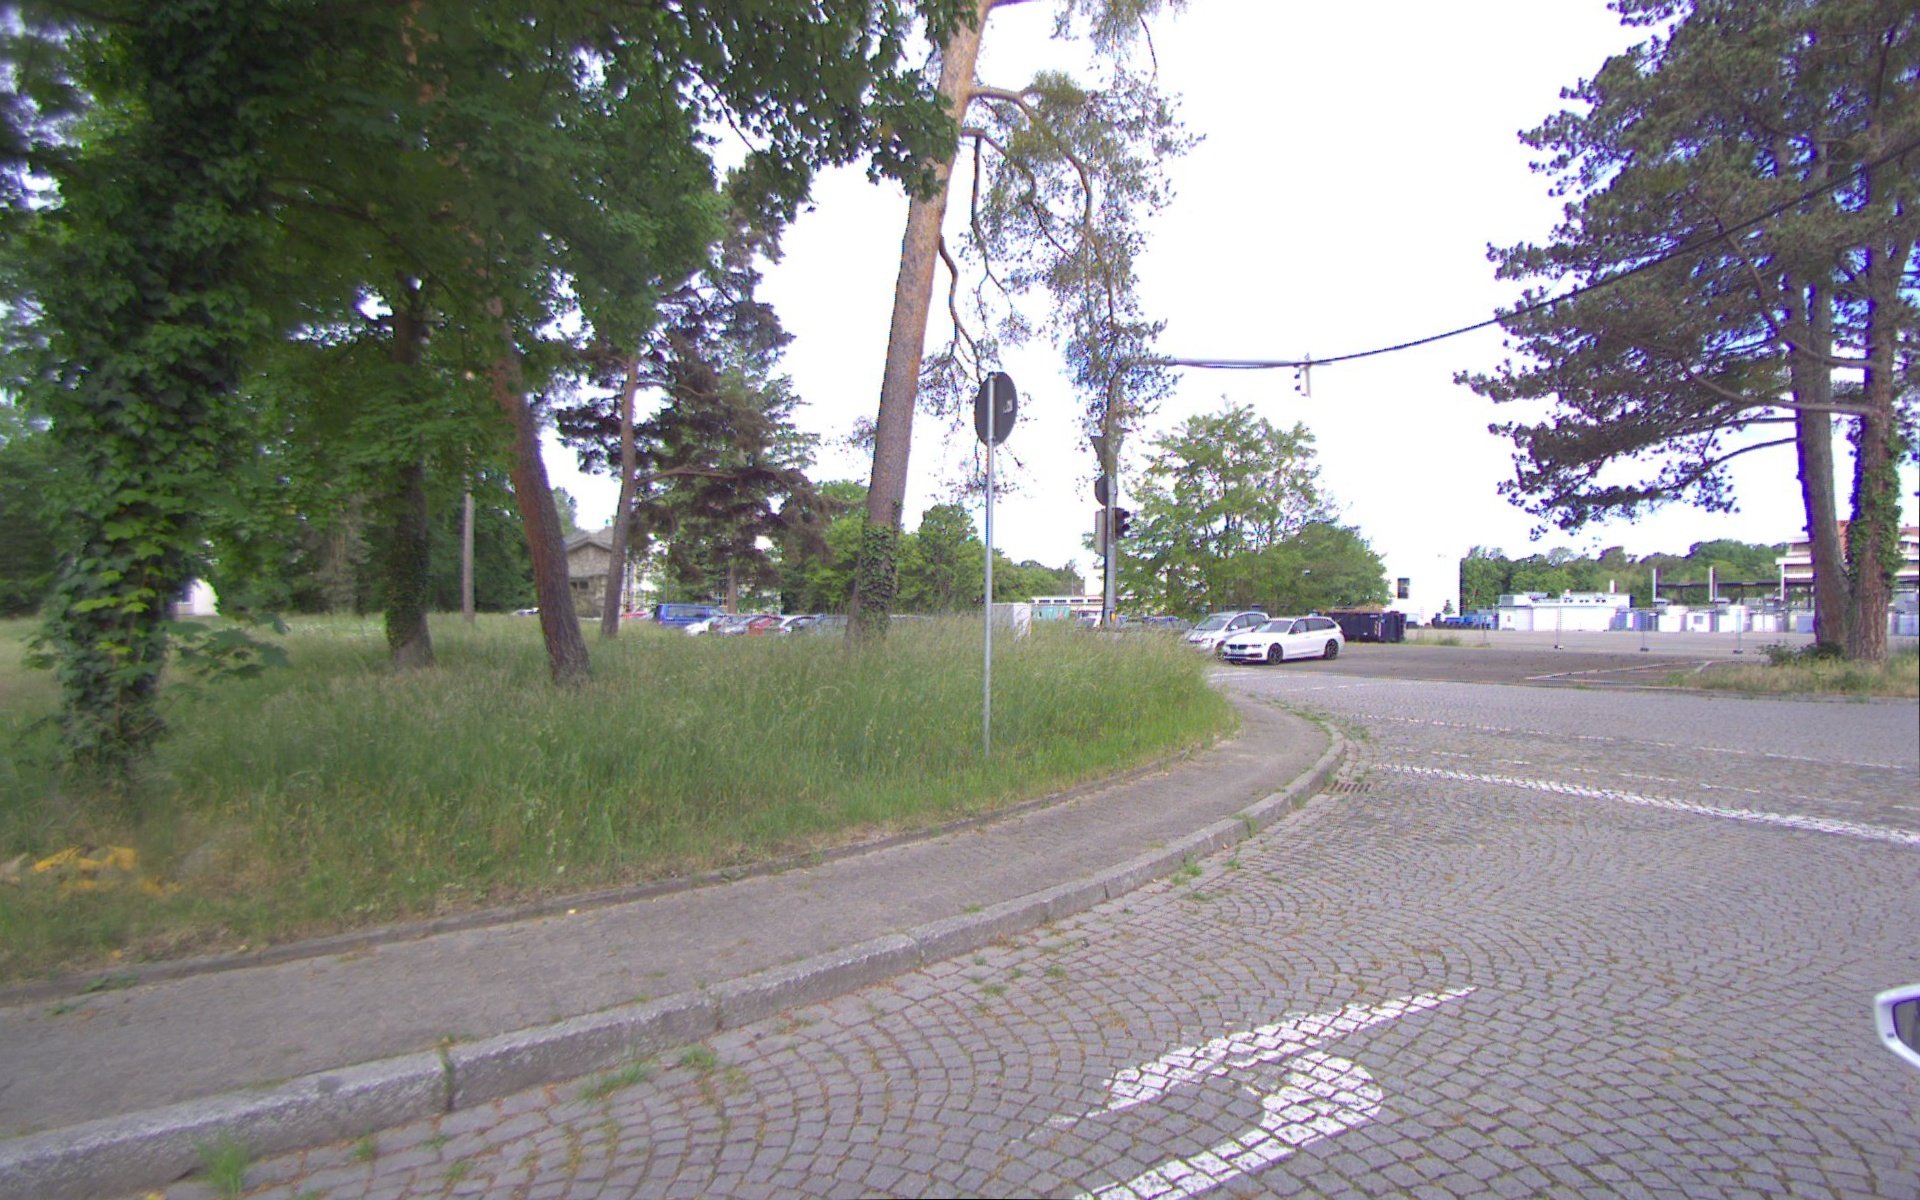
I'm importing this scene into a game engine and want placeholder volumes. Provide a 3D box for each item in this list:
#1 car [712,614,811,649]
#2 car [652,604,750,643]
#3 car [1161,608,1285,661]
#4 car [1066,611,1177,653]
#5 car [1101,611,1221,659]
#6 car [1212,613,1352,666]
[{"bbox_3d":[-8.674,1.356,44.027,3.952,1.457,1.678,1,-1,-30],"label":"car"},{"bbox_3d":[-13.837,1.211,53.668,4.737,2.007,1.982,0,0,-31],"label":"car"},{"bbox_3d":[9.139,1.138,34.789,4.281,1.605,1.810,-2,1,-34],"label":"car"},{"bbox_3d":[6.365,1.226,39.466,4.281,1.587,1.782,1,-1,-34],"label":"car"},{"bbox_3d":[7.431,1.241,36.963,4.281,1.522,1.843,-2,1,-34],"label":"car"},{"bbox_3d":[10.528,1.240,32.729,4.689,1.461,1.799,-2,1,-34],"label":"car"}]
